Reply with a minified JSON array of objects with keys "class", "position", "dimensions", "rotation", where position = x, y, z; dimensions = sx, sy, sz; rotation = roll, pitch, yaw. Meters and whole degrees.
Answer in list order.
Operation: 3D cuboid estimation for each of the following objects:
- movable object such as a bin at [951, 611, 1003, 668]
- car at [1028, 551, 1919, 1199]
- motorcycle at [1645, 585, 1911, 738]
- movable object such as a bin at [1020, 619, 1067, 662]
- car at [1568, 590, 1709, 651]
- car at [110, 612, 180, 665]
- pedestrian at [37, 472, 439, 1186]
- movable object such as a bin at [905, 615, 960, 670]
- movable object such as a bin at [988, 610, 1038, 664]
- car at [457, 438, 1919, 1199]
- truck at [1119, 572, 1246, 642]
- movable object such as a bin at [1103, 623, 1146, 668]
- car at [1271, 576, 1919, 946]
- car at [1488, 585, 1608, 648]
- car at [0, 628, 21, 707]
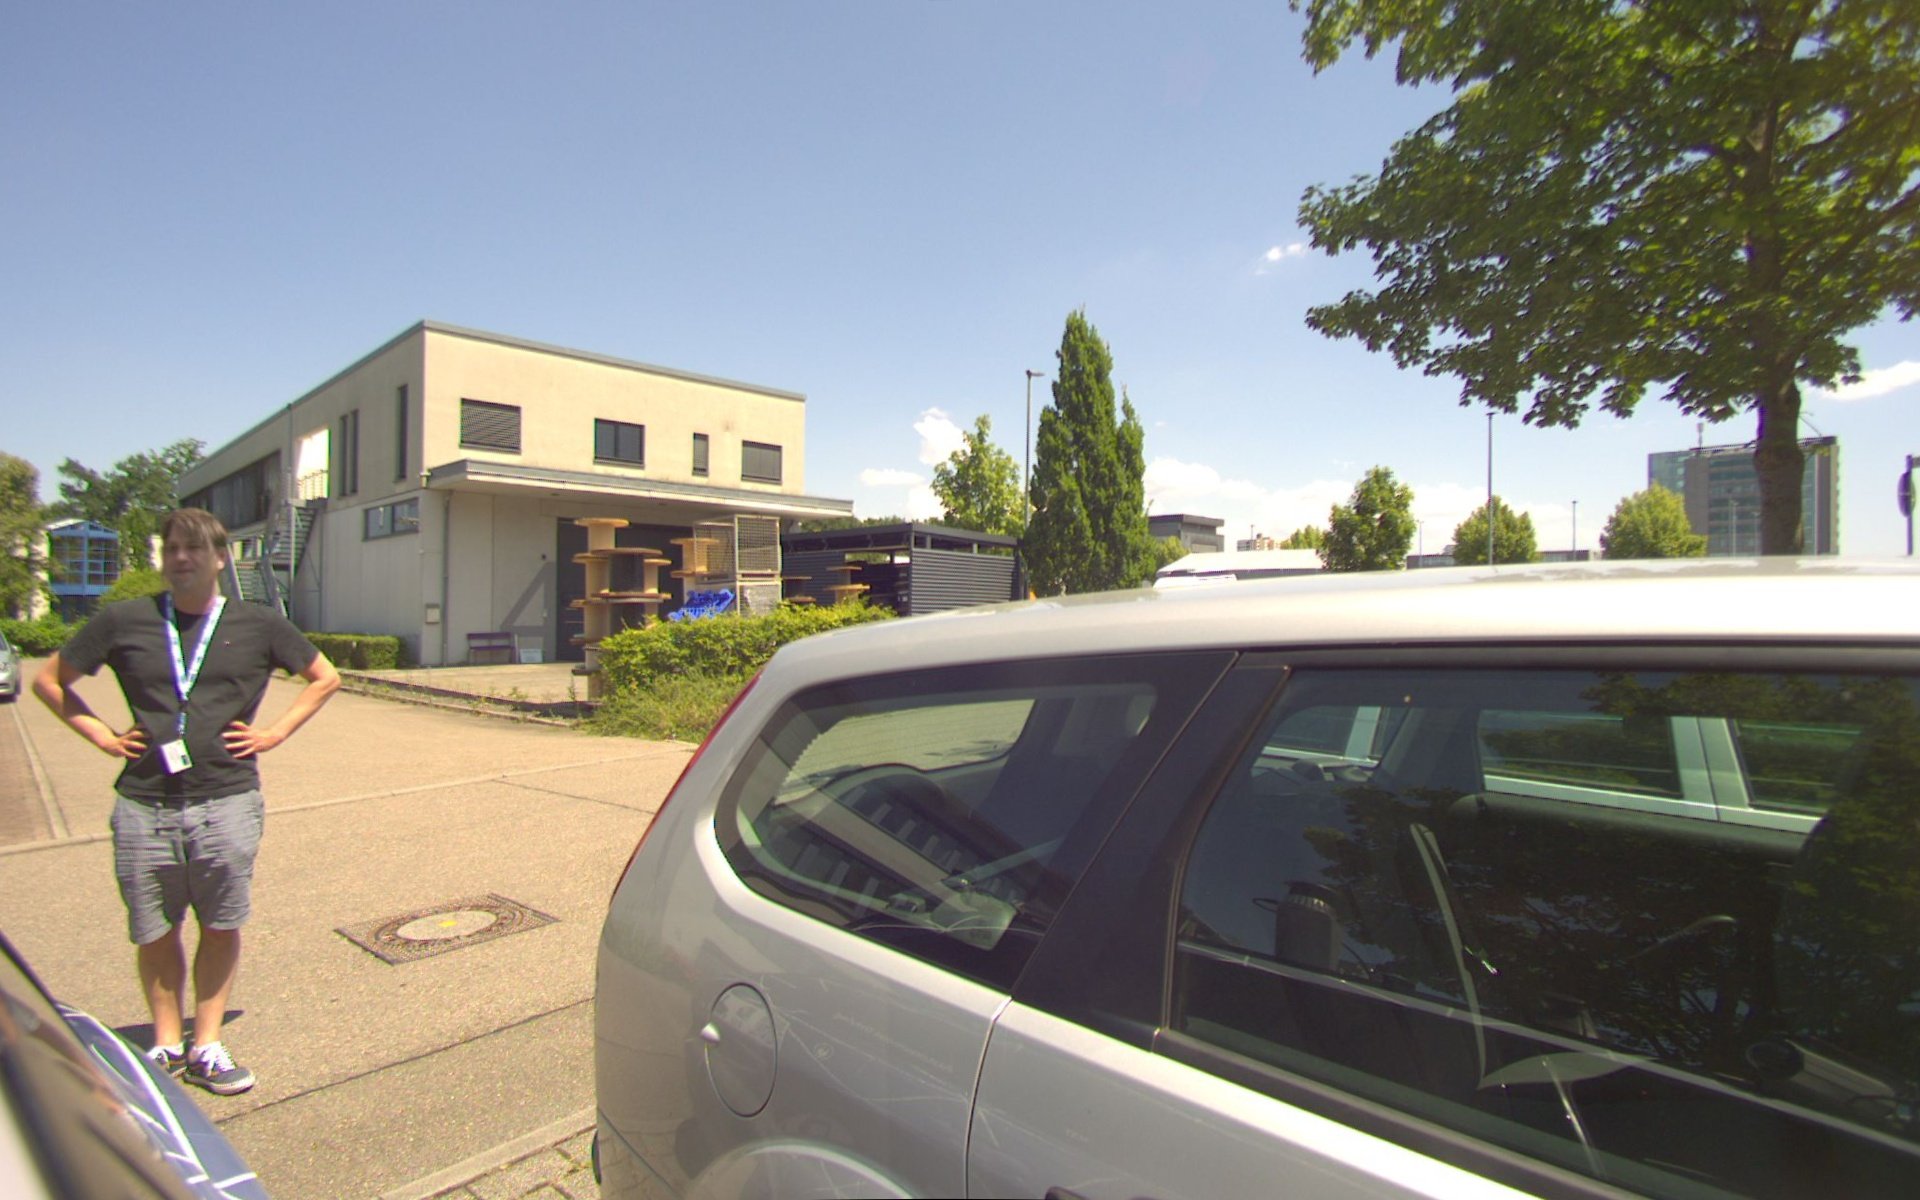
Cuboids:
[{"class":"movable object such as a bin","position":[0.425,0.965,25.114],"dimensions":[1.056,1.346,0.761],"rotation":[-1,-1,-40]},{"class":"car","position":[2.279,0.641,3.109],"dimensions":[3.886,1.490,1.632],"rotation":[-1,-1,38]},{"class":"motorcycle","position":[8.045,0.588,10.073],"dimensions":[1.986,1.400,0.478],"rotation":[-2,-1,38]},{"class":"movable object such as a bin","position":[2.219,1.046,26.739],"dimensions":[0.972,1.092,0.761],"rotation":[-1,-1,-40]},{"class":"car","position":[18.611,0.536,27.711],"dimensions":[3.932,1.533,1.658],"rotation":[-1,0,-31]},{"class":"car","position":[-30.045,1.368,37.276],"dimensions":[1.761,1.817,4.004],"rotation":[-1,0,-43]},{"class":"pedestrian","position":[-2.299,0.591,3.227],"dimensions":[0.904,1.834,0.849],"rotation":[-2,-1,41]},{"class":"movable object such as a bin","position":[-0.653,1.008,24.336],"dimensions":[1.056,1.280,0.761],"rotation":[-1,-1,-40]},{"class":"movable object such as a bin","position":[1.366,0.930,26.059],"dimensions":[1.056,1.346,0.761],"rotation":[-1,-1,-40]},{"class":"car","position":[1.329,0.646,0.988],"dimensions":[4.346,1.490,1.702],"rotation":[-1,-1,41]},{"class":"truck","position":[9.205,0.258,41.619],"dimensions":[5.614,2.692,2.420],"rotation":[-1,-1,-45]},{"class":"movable object such as a bin","position":[3.757,1.031,23.097],"dimensions":[0.581,0.977,0.761],"rotation":[-1,-1,-40]},{"class":"car","position":[3.752,0.641,5.039],"dimensions":[3.886,1.459,1.632],"rotation":[-1,-1,38]},{"class":"car","position":[17.416,0.457,29.923],"dimensions":[3.936,1.751,1.776],"rotation":[-1,0,-39]},{"class":"car","position":[-19.062,1.247,19.194],"dimensions":[1.686,1.402,3.816],"rotation":[1,-1,-41]}]
